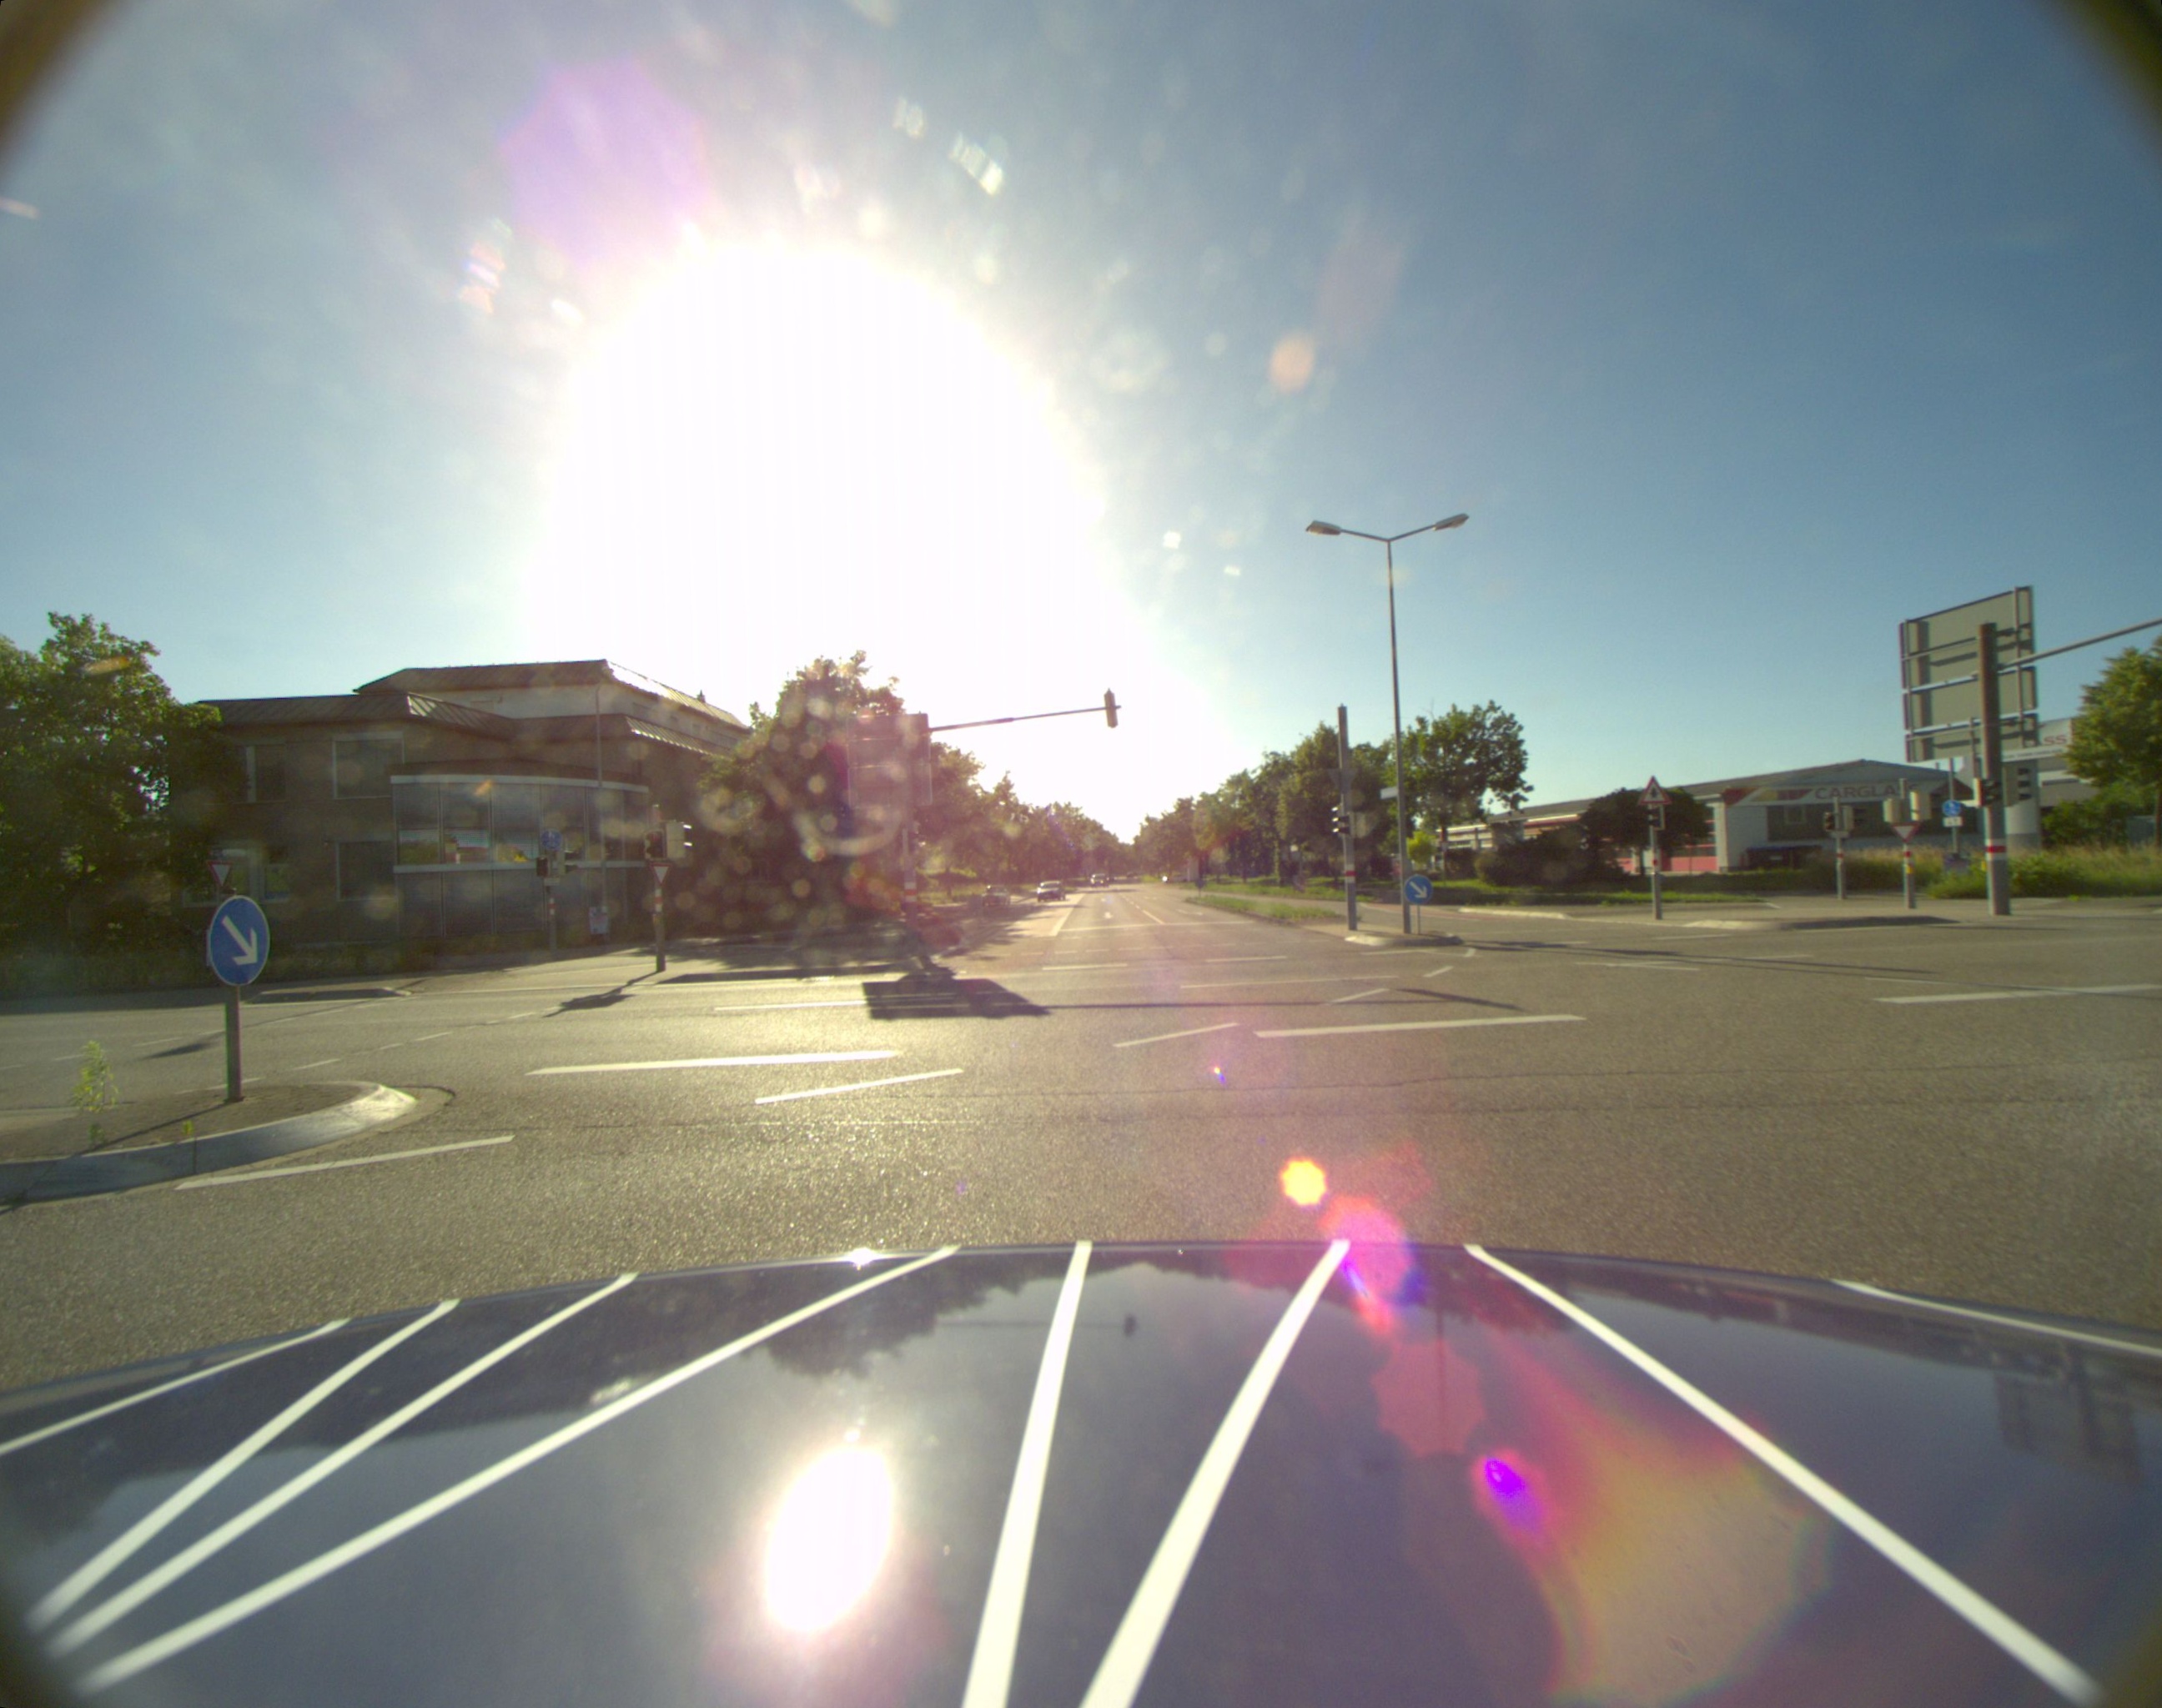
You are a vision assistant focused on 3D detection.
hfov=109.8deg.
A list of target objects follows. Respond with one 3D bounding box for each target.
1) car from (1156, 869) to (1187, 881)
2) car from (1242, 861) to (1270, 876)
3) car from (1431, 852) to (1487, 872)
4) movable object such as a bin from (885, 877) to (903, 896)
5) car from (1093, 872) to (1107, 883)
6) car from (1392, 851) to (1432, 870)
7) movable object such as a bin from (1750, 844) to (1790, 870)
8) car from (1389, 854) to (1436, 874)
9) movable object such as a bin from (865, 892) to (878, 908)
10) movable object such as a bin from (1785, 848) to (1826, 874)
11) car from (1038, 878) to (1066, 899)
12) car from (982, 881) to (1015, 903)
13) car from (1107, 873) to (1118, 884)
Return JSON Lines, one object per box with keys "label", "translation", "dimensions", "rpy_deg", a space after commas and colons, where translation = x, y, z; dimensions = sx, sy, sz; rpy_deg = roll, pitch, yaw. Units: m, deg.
{"label": "car", "translation": [13.380, 3.082, 112.535], "dimensions": [4.489, 1.695, 2.001], "rpy_deg": [-2, -1, 7]}
{"label": "car", "translation": [26.620, 2.269, 115.695], "dimensions": [3.994, 2.001, 2.002], "rpy_deg": [-4, -1, 10]}
{"label": "car", "translation": [35.947, 0.784, 72.382], "dimensions": [4.238, 1.578, 1.998], "rpy_deg": [-4, -1, 0]}
{"label": "movable object such as a bin", "translation": [-13.801, 2.412, 56.085], "dimensions": [1.089, 1.314, 0.796], "rpy_deg": [-3, -1, 2]}
{"label": "car", "translation": [2.533, 3.067, 99.469], "dimensions": [1.776, 1.477, 4.216], "rpy_deg": [-1, -1, 2]}
{"label": "car", "translation": [41.785, 0.829, 96.042], "dimensions": [4.212, 2.203, 1.778], "rpy_deg": [-2, -1, -1]}
{"label": "movable object such as a bin", "translation": [35.245, 0.178, 38.877], "dimensions": [1.130, 1.290, 0.993], "rpy_deg": [-2, -1, 1]}
{"label": "car", "translation": [38.468, 1.186, 88.337], "dimensions": [4.488, 1.934, 1.999], "rpy_deg": [-4, -1, 7]}
{"label": "movable object such as a bin", "translation": [-14.703, 3.219, 53.369], "dimensions": [0.687, 1.035, 0.695], "rpy_deg": [-4, -1, 2]}
{"label": "movable object such as a bin", "translation": [37.063, 0.380, 38.883], "dimensions": [1.130, 1.290, 0.993], "rpy_deg": [-2, -1, 1]}
{"label": "car", "translation": [-2.200, 2.622, 58.485], "dimensions": [1.776, 1.477, 3.781], "rpy_deg": [-1, -1, 2]}
{"label": "car", "translation": [-5.947, 2.711, 55.143], "dimensions": [1.776, 1.477, 4.216], "rpy_deg": [-1, -1, 2]}
{"label": "car", "translation": [5.992, 4.616, 144.091], "dimensions": [1.730, 2.002, 3.999], "rpy_deg": [-2, 0, -2]}
